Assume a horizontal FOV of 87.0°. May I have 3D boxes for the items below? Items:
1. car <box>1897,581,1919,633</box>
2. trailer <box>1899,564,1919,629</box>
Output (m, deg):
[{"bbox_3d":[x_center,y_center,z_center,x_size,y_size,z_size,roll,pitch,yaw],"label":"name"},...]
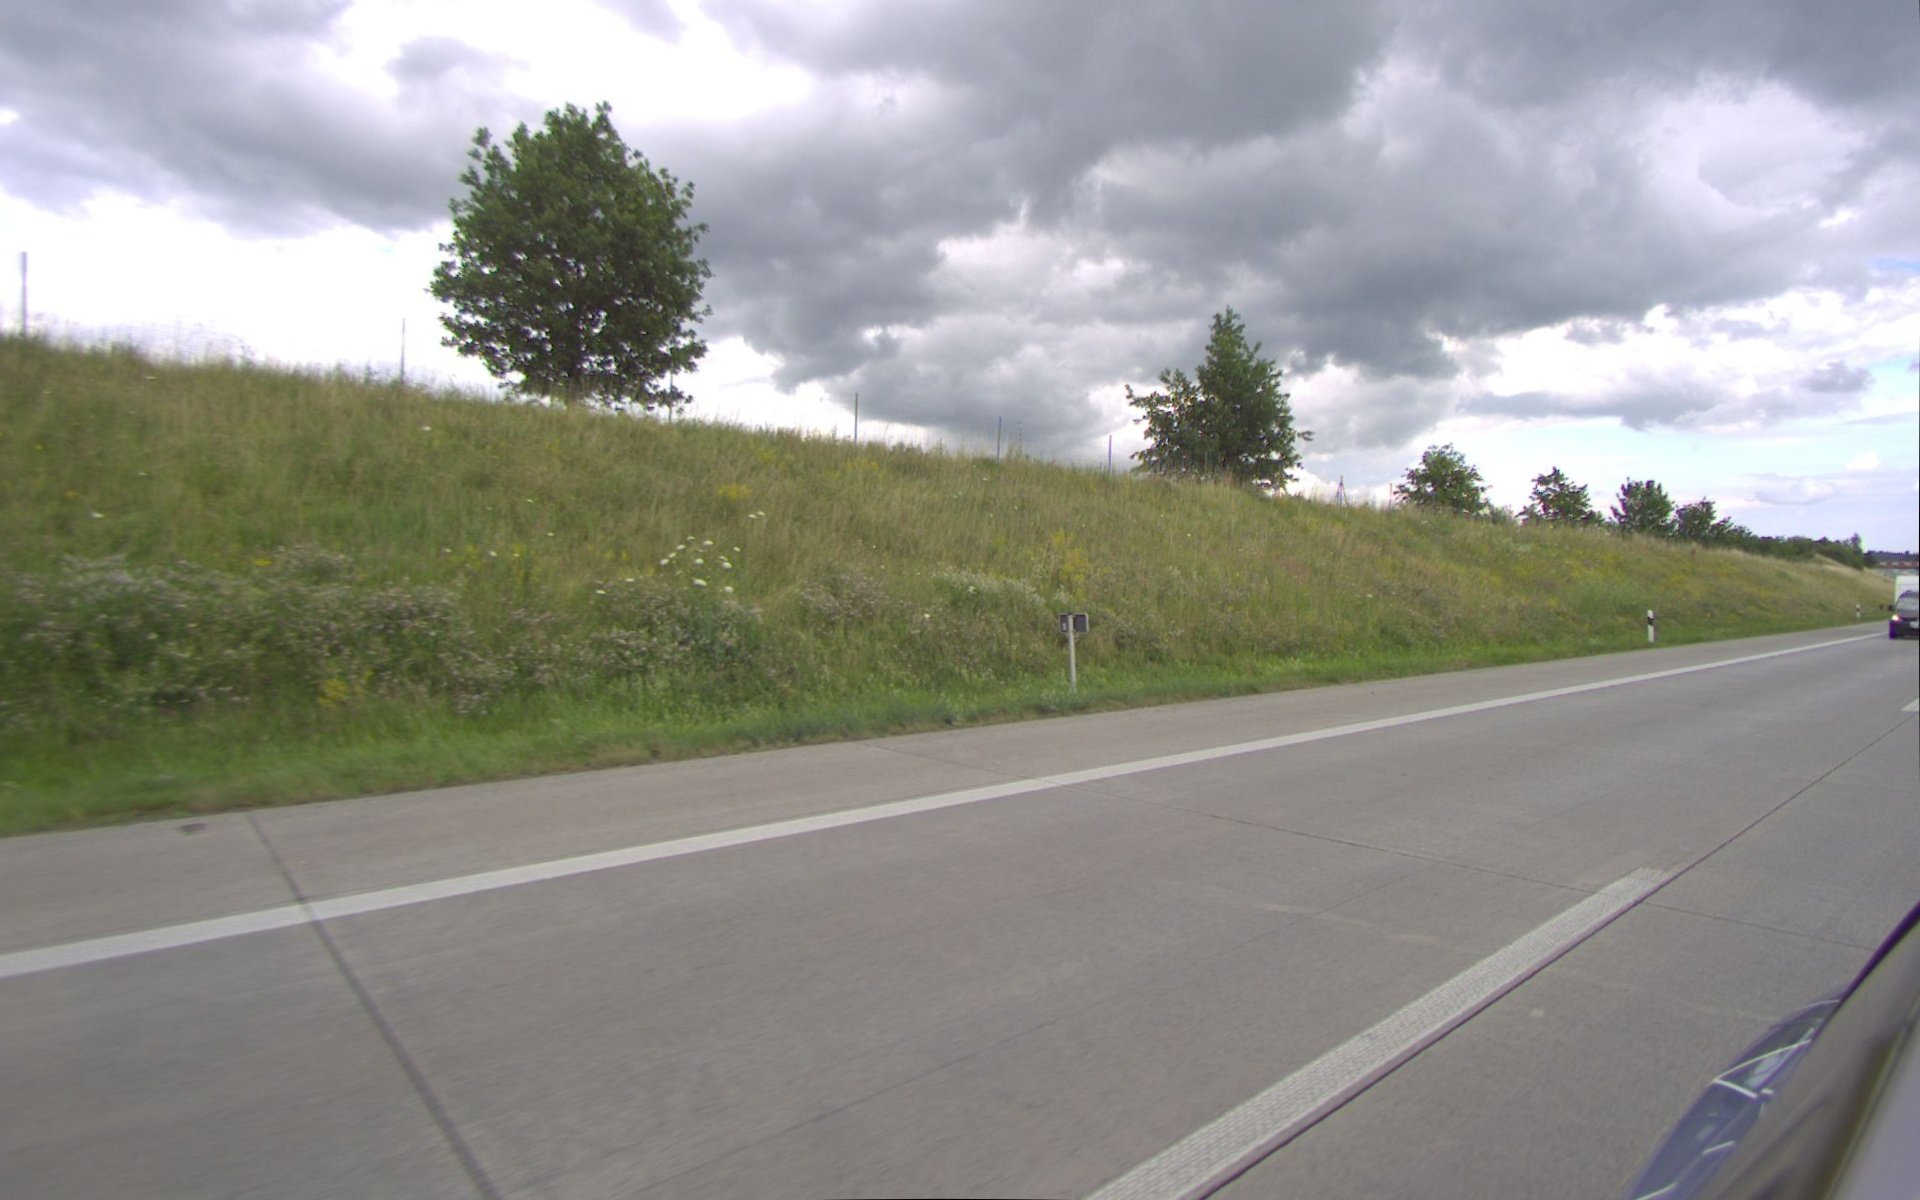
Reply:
[{"bbox_3d":[36.381,0.224,37.591,4.947,1.832,1.941,-1,1,-43],"label":"car"},{"bbox_3d":[40.632,-0.167,41.512,6.608,2.566,2.612,-1,1,-43],"label":"trailer"}]
